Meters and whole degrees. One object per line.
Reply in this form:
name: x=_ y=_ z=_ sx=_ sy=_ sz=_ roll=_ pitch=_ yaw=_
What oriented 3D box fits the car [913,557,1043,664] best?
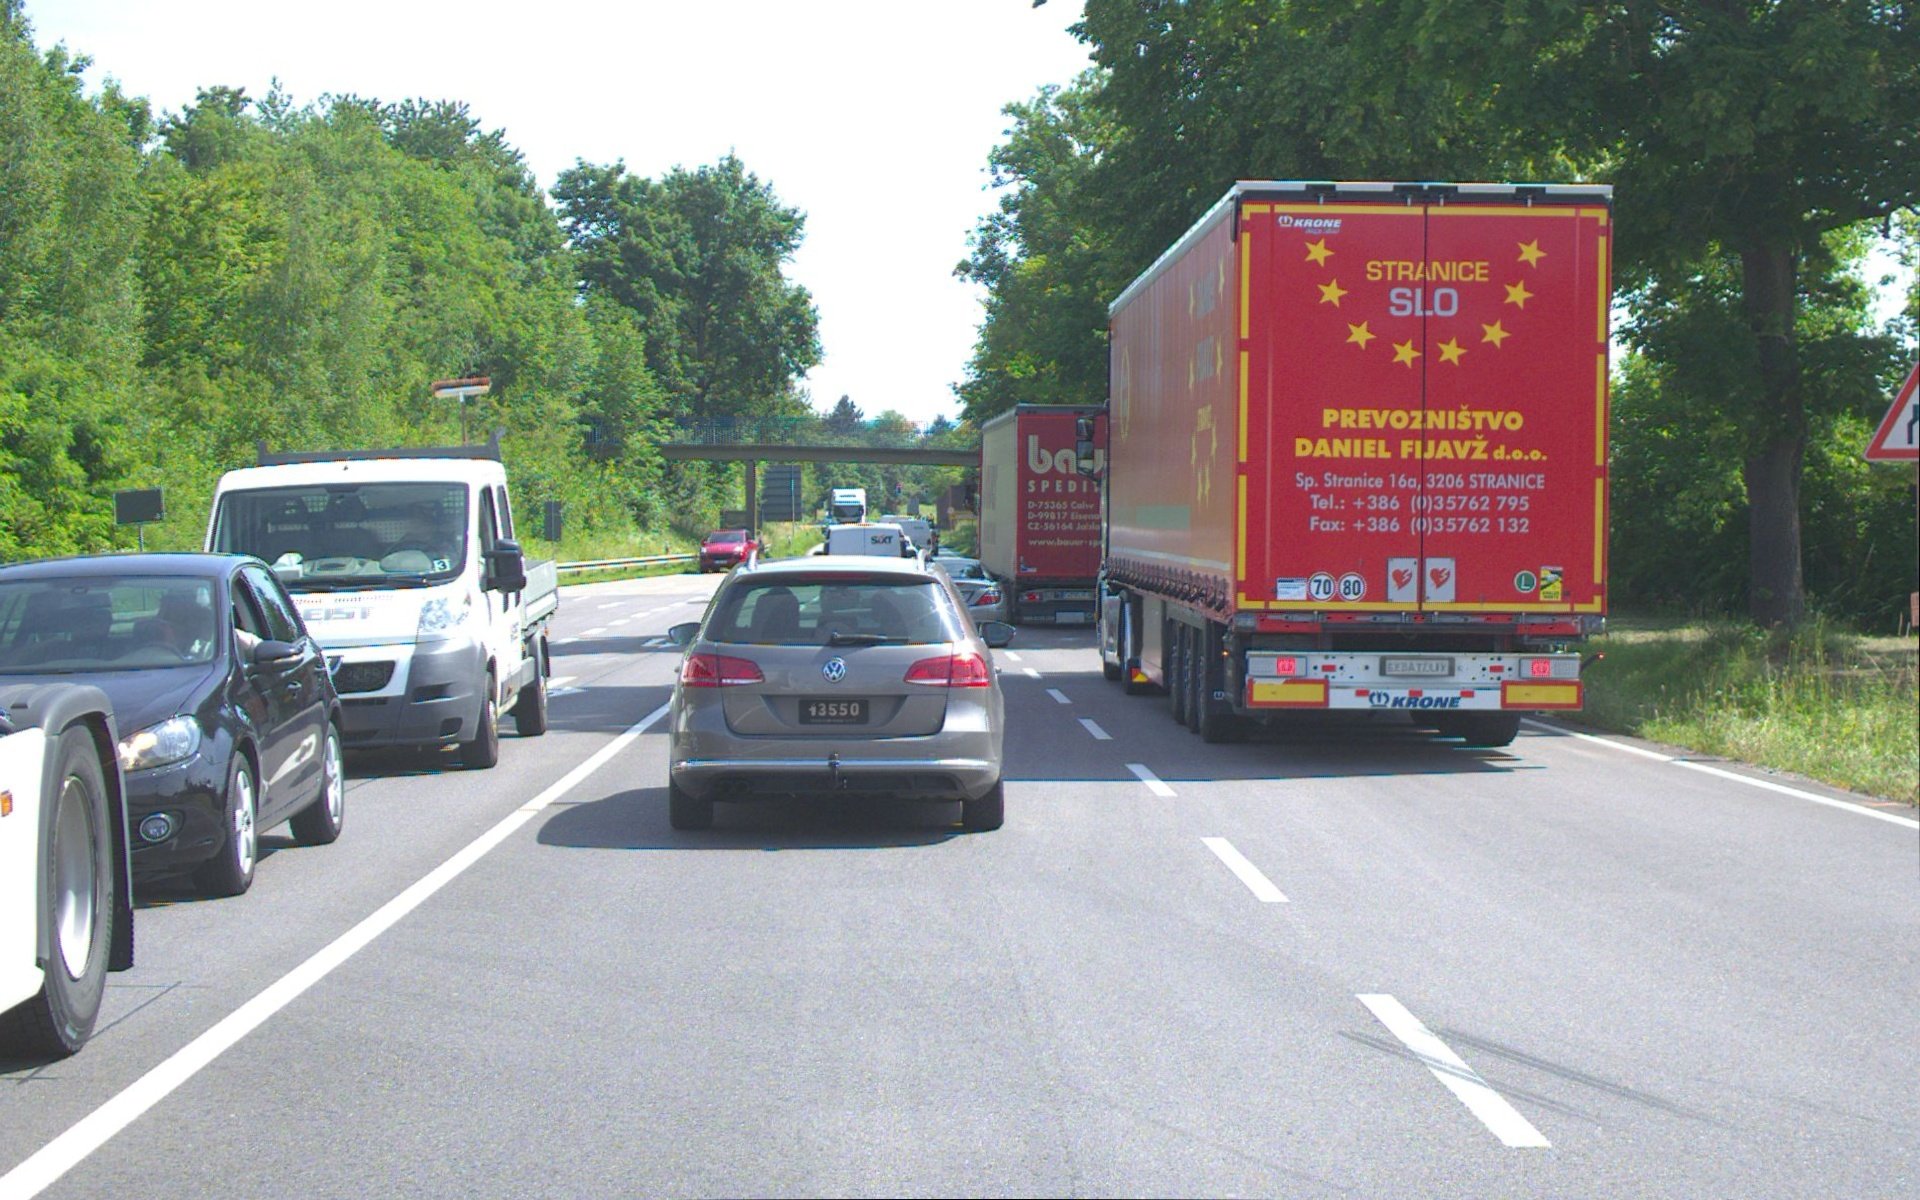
car: x=0.231 y=0.128 z=51.474 sx=1.770 sy=1.508 sz=4.000 roll=-1 pitch=1 yaw=-2

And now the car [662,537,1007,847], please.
car: x=-0.686 y=0.435 z=19.194 sx=1.691 sy=1.508 sz=4.000 roll=-1 pitch=1 yaw=-2

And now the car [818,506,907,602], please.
car: x=-2.047 y=-0.963 z=72.297 sx=1.770 sy=1.930 sz=3.978 roll=-1 pitch=1 yaw=-2

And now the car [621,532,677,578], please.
car: x=-12.671 y=-1.840 z=140.189 sx=1.973 sy=1.790 sz=4.809 roll=-1 pitch=1 yaw=-2

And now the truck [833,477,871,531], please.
truck: x=-8.190 y=-7.201 z=259.592 sx=2.773 sy=3.917 sz=9.468 roll=-1 pitch=1 yaw=-2

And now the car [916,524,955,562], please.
car: x=-1.337 y=-3.064 z=185.162 sx=1.993 sy=2.007 sz=4.000 roll=-1 pitch=1 yaw=-1

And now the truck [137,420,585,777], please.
truck: x=-4.241 y=-0.049 z=25.567 sx=2.227 sy=2.260 sz=6.500 roll=-1 pitch=1 yaw=-1

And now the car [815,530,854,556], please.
car: x=-7.110 y=-3.244 z=195.329 sx=1.963 sy=1.410 sz=4.000 roll=-1 pitch=1 yaw=1

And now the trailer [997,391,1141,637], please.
trailer: x=1.971 y=-1.582 z=66.416 sx=2.395 sy=4.229 sz=13.078 roll=-1 pitch=1 yaw=1

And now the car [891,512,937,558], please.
car: x=-2.134 y=-2.985 z=158.706 sx=1.993 sy=2.007 sz=4.000 roll=-1 pitch=1 yaw=-1

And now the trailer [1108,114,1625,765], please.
trailer: x=3.021 y=-1.161 z=29.750 sx=2.839 sy=4.350 sz=13.168 roll=1 pitch=1 yaw=0

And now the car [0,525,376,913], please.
car: x=-3.890 y=0.467 z=15.929 sx=1.710 sy=1.546 sz=4.109 roll=-1 pitch=1 yaw=-1

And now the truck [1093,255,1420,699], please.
truck: x=2.975 y=-1.222 z=36.125 sx=2.870 sy=4.266 sz=5.839 roll=1 pitch=1 yaw=0

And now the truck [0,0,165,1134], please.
truck: x=-3.721 y=-0.636 z=7.737 sx=2.537 sy=4.074 sz=6.266 roll=-1 pitch=1 yaw=-2

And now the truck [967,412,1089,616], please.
truck: x=1.415 y=-1.789 z=73.194 sx=2.406 sy=4.113 sz=5.521 roll=-1 pitch=1 yaw=1
